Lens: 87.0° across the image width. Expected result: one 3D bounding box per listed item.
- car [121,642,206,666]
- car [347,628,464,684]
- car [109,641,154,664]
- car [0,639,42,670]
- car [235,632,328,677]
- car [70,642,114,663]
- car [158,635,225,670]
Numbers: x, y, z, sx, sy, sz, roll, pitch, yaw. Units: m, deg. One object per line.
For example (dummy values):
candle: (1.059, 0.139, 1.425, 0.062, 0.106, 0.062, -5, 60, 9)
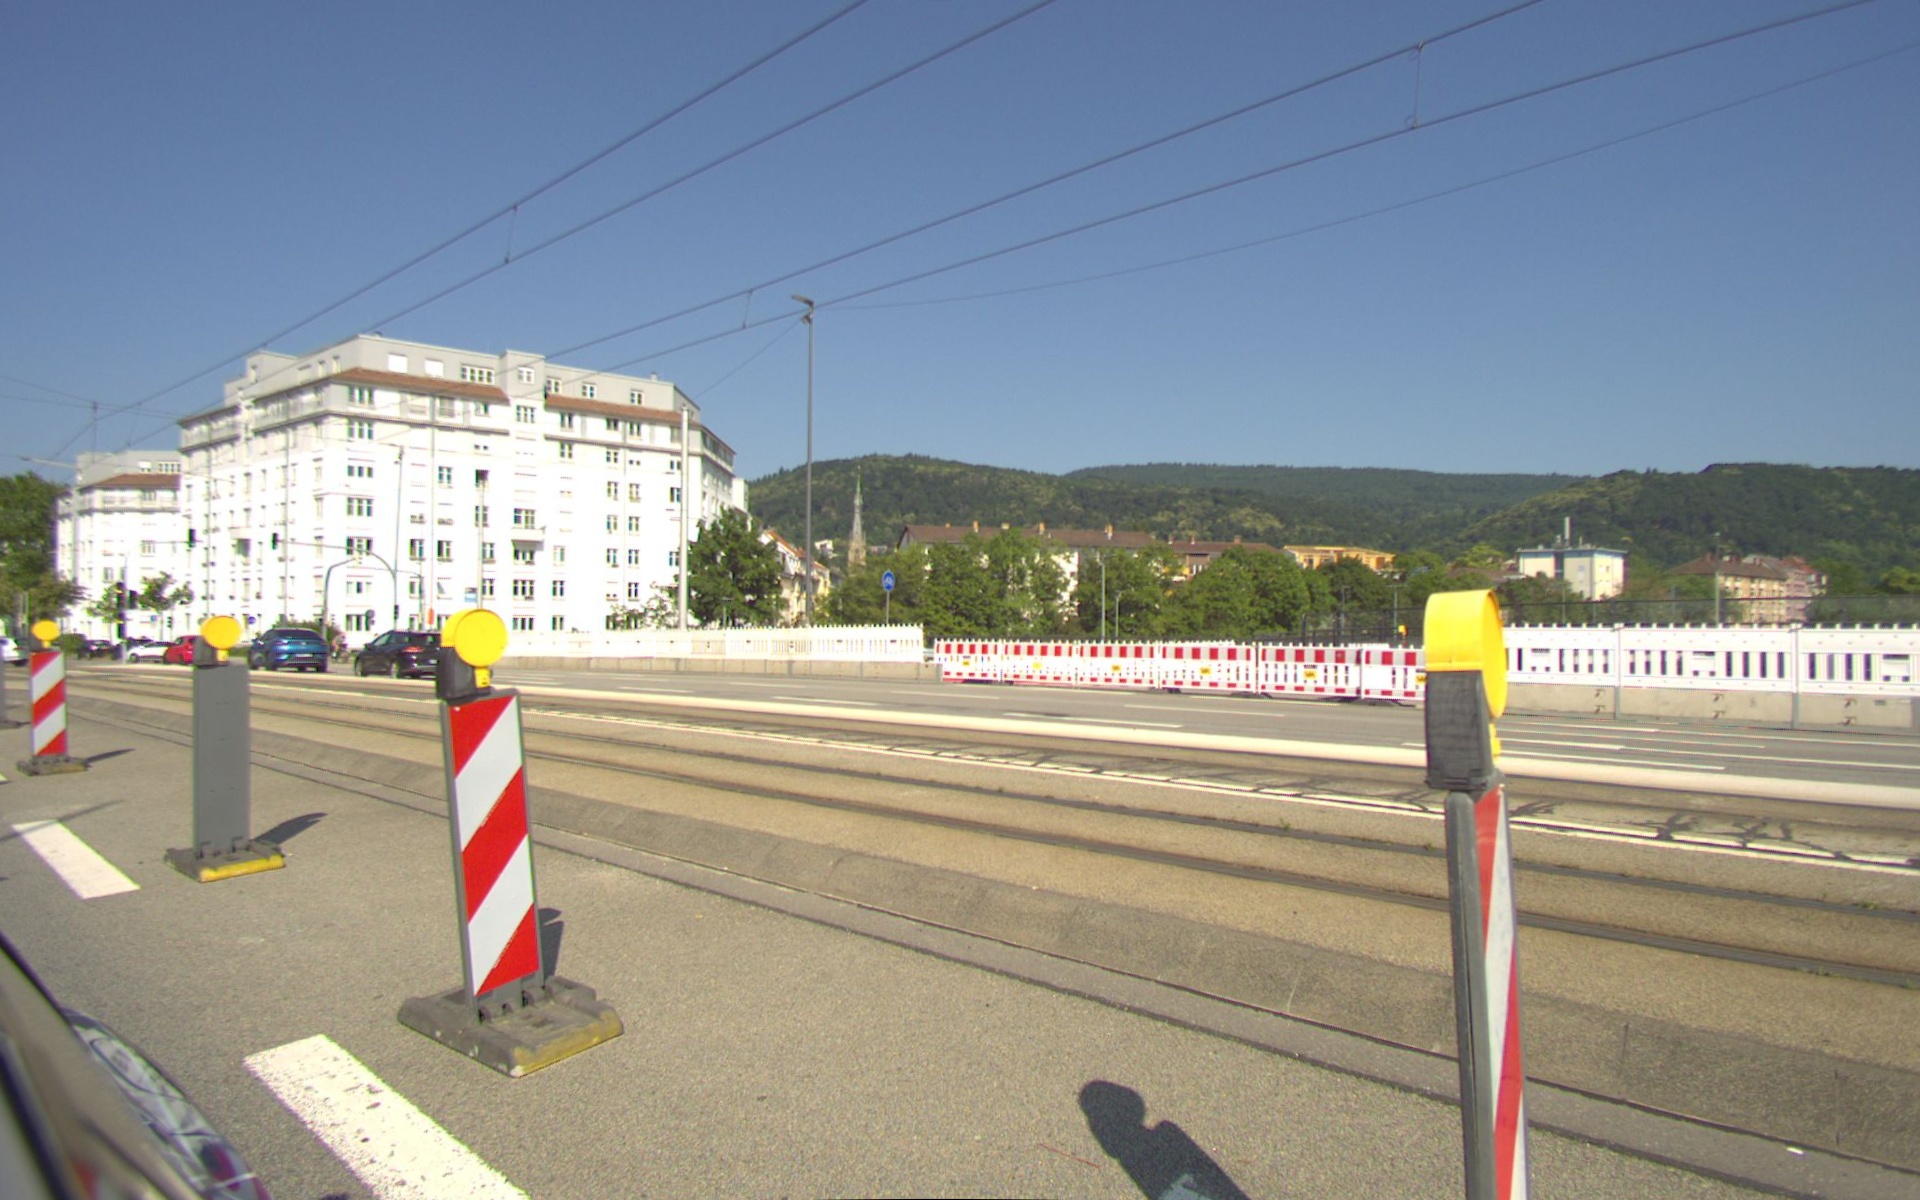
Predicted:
car: (-50.378, 3.410, 64.033, 4.436, 1.423, 1.697, 0, -3, 10)
car: (-15.881, 1.587, 28.904, 4.174, 1.512, 1.490, -2, -4, 40)
car: (-61.509, 3.874, 75.127, 3.732, 1.650, 1.719, -2, -2, 36)
car: (-47.744, 2.631, 49.079, 4.568, 1.448, 1.646, 1, -3, -10)
car: (-24.906, 1.984, 37.089, 4.553, 1.562, 1.652, -2, -3, 41)
car: (-68.703, 4.147, 80.101, 3.730, 1.650, 1.720, -2, -2, 34)
car: (-35.357, 2.412, 46.532, 3.977, 1.448, 1.518, -2, -7, 41)
